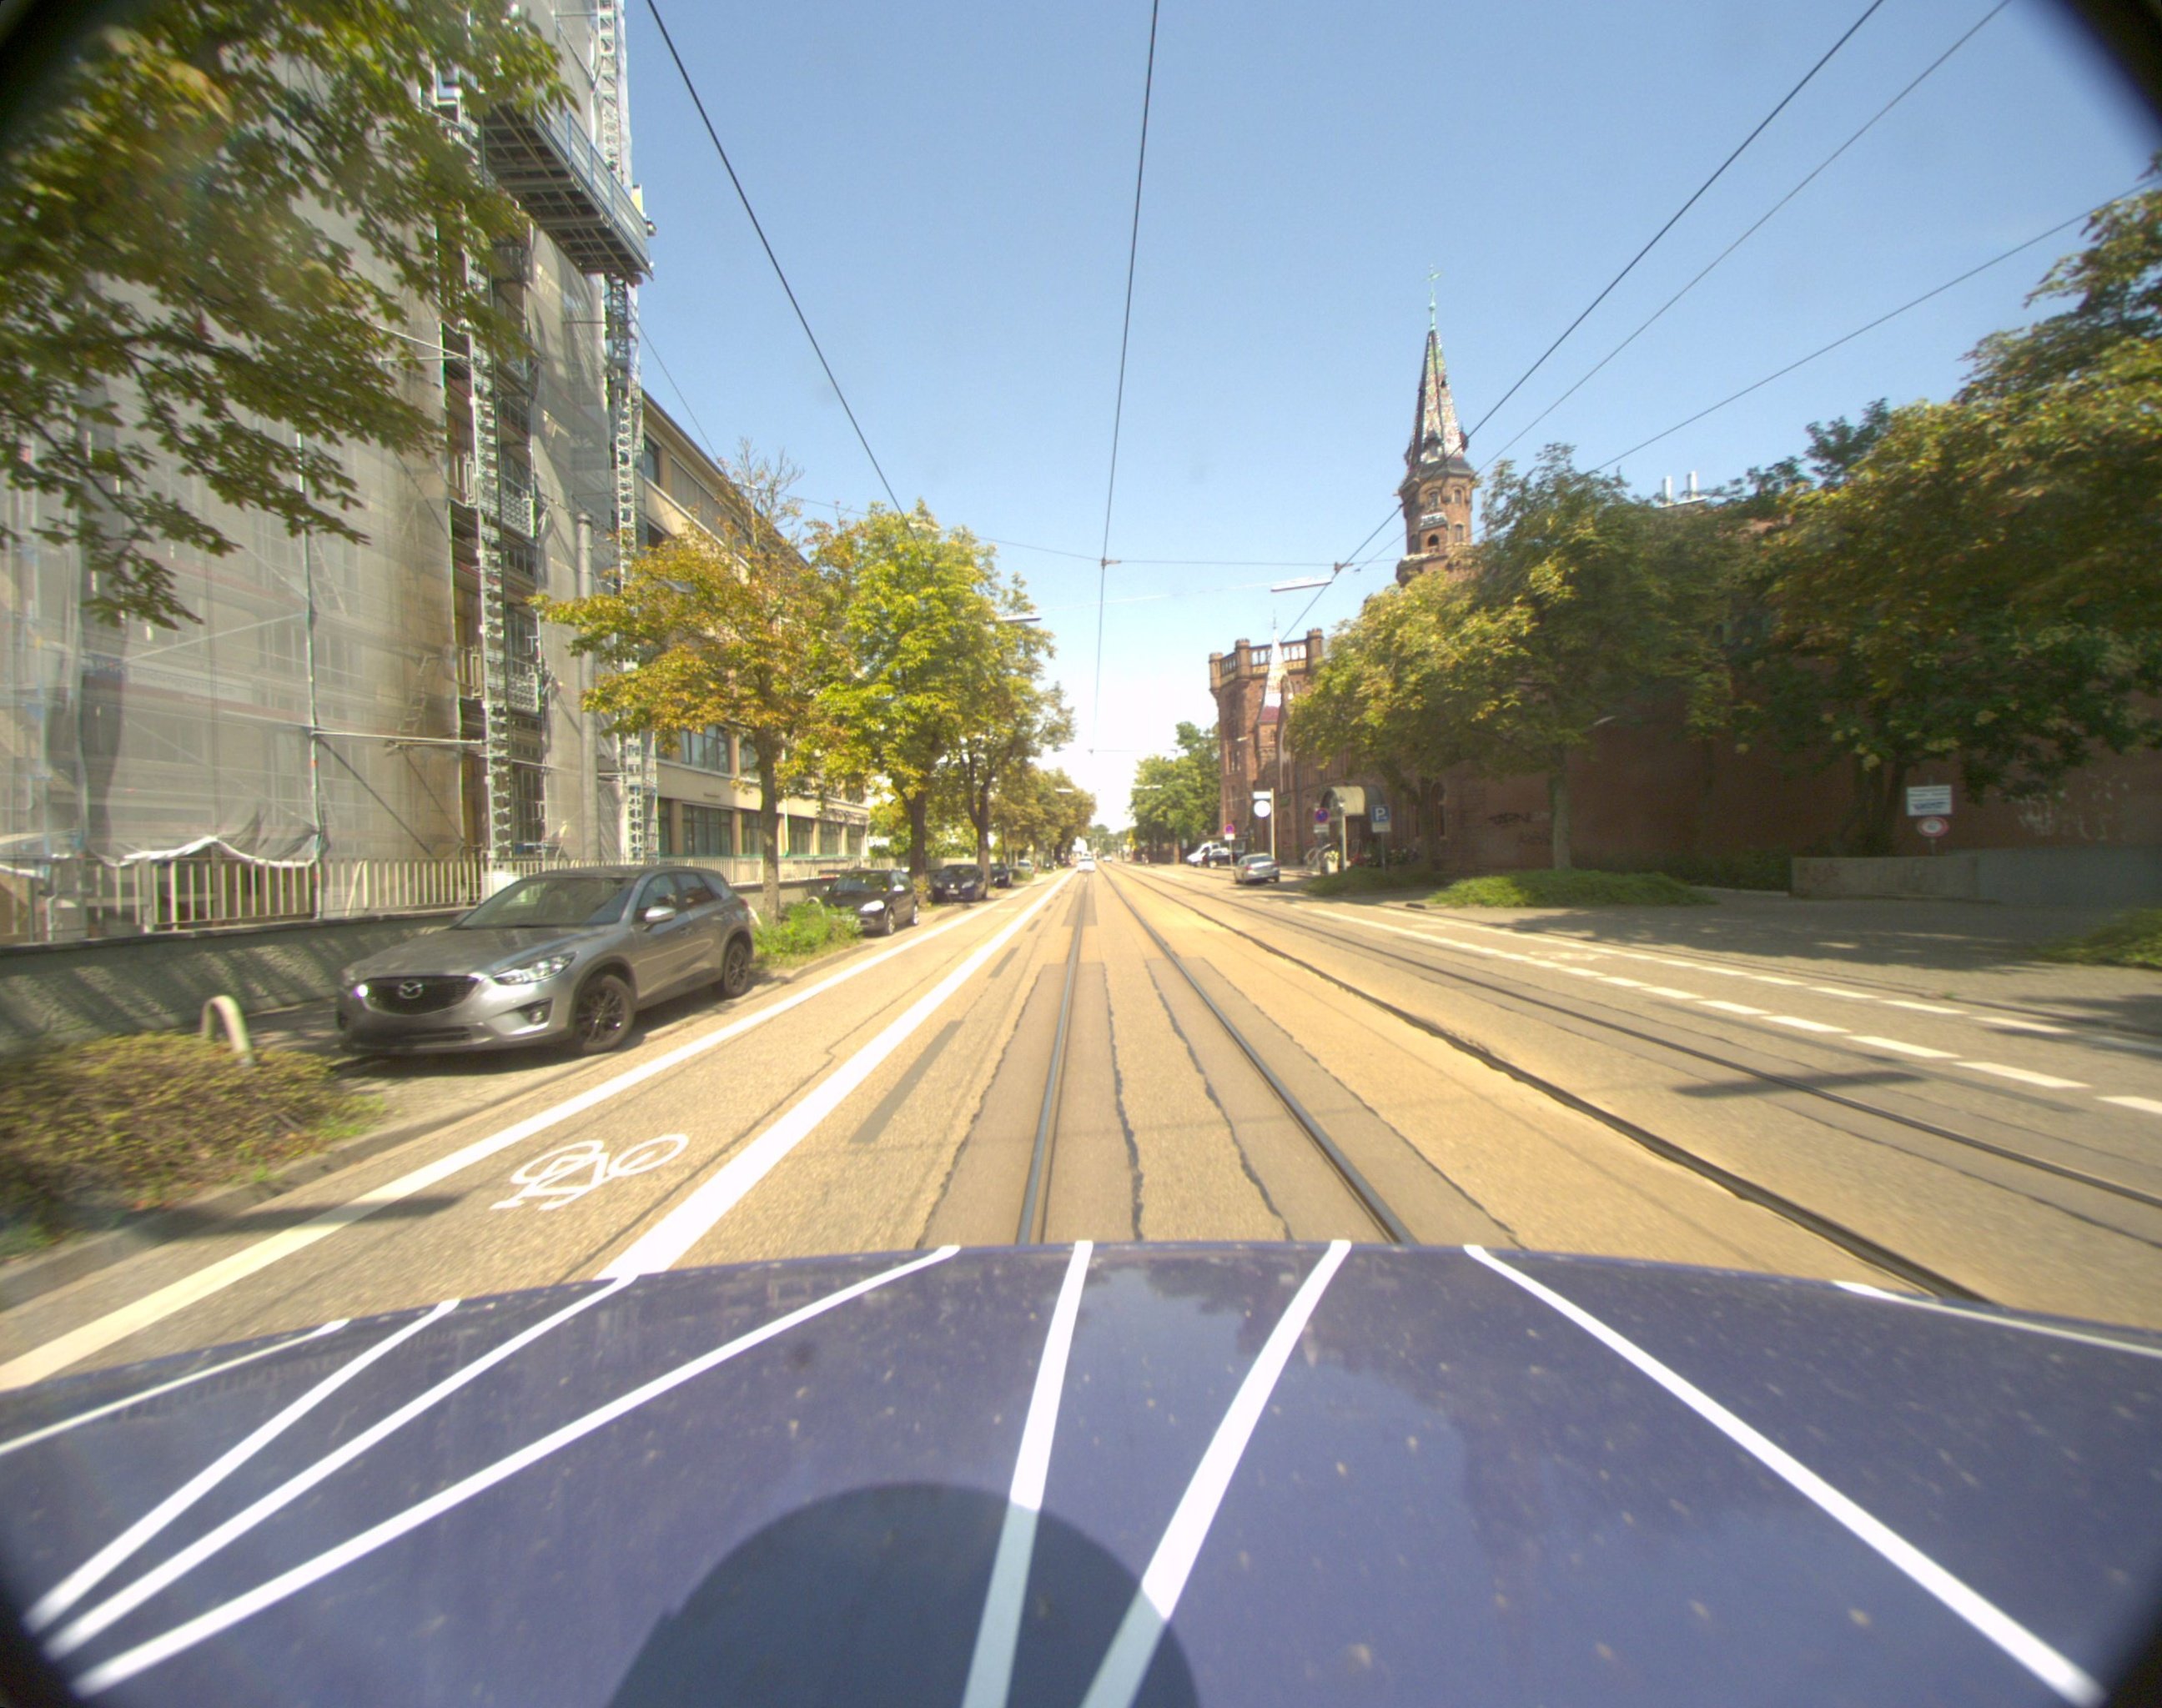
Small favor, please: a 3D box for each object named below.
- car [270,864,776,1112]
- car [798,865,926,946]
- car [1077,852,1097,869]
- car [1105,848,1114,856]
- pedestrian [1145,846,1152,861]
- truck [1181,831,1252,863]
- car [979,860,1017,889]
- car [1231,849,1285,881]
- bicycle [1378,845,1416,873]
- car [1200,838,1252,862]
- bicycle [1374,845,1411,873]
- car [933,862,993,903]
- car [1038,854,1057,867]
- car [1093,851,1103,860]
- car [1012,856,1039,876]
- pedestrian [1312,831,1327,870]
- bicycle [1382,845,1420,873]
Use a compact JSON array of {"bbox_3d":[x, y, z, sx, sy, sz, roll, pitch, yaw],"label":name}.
[{"bbox_3d":[-5.018,1.016,7.900,1.766,1.679,4.648,-2,0,0],"label":"car"},{"bbox_3d":[-5.002,1.117,17.908,1.689,1.561,4.000,-2,0,2],"label":"car"},{"bbox_3d":[0.637,0.641,74.536,1.824,1.483,4.019,-3,0,1],"label":"car"},{"bbox_3d":[6.692,-0.391,180.227,1.998,1.783,4.000,-2,0,2],"label":"car"},{"bbox_3d":[8.490,-0.112,95.748,0.736,1.837,0.828,-2,1,2],"label":"pedestrian"},{"bbox_3d":[13.620,-0.693,76.670,6.510,2.510,2.317,-6,0,1],"label":"truck"},{"bbox_3d":[-4.579,1.113,42.468,1.642,1.464,3.993,0,0,0],"label":"car"},{"bbox_3d":[8.903,0.517,38.585,1.939,1.493,4.515,-2,0,3],"label":"car"},{"bbox_3d":[13.802,0.226,33.199,1.449,1.056,0.377,-7,2,-9],"label":"bicycle"},{"bbox_3d":[13.392,-0.356,70.411,4.407,1.787,2.000,-6,0,3],"label":"car"},{"bbox_3d":[13.757,0.225,33.528,1.449,1.056,0.377,-7,2,-9],"label":"bicycle"},{"bbox_3d":[-4.716,1.097,30.783,1.645,1.561,4.084,0,0,2],"label":"car"},{"bbox_3d":[-4.037,0.776,91.449,1.998,1.521,4.000,-2,0,2],"label":"car"},{"bbox_3d":[2.824,0.286,128.234,1.677,1.477,3.778,-1,1,1],"label":"car"},{"bbox_3d":[-4.465,0.933,61.556,1.642,1.464,3.878,-2,0,2],"label":"car"},{"bbox_3d":[12.283,-0.169,39.107,0.504,1.969,0.520,-1,2,45],"label":"pedestrian"},{"bbox_3d":[13.844,0.227,32.897,1.449,1.056,0.377,-7,2,-9],"label":"bicycle"}]
